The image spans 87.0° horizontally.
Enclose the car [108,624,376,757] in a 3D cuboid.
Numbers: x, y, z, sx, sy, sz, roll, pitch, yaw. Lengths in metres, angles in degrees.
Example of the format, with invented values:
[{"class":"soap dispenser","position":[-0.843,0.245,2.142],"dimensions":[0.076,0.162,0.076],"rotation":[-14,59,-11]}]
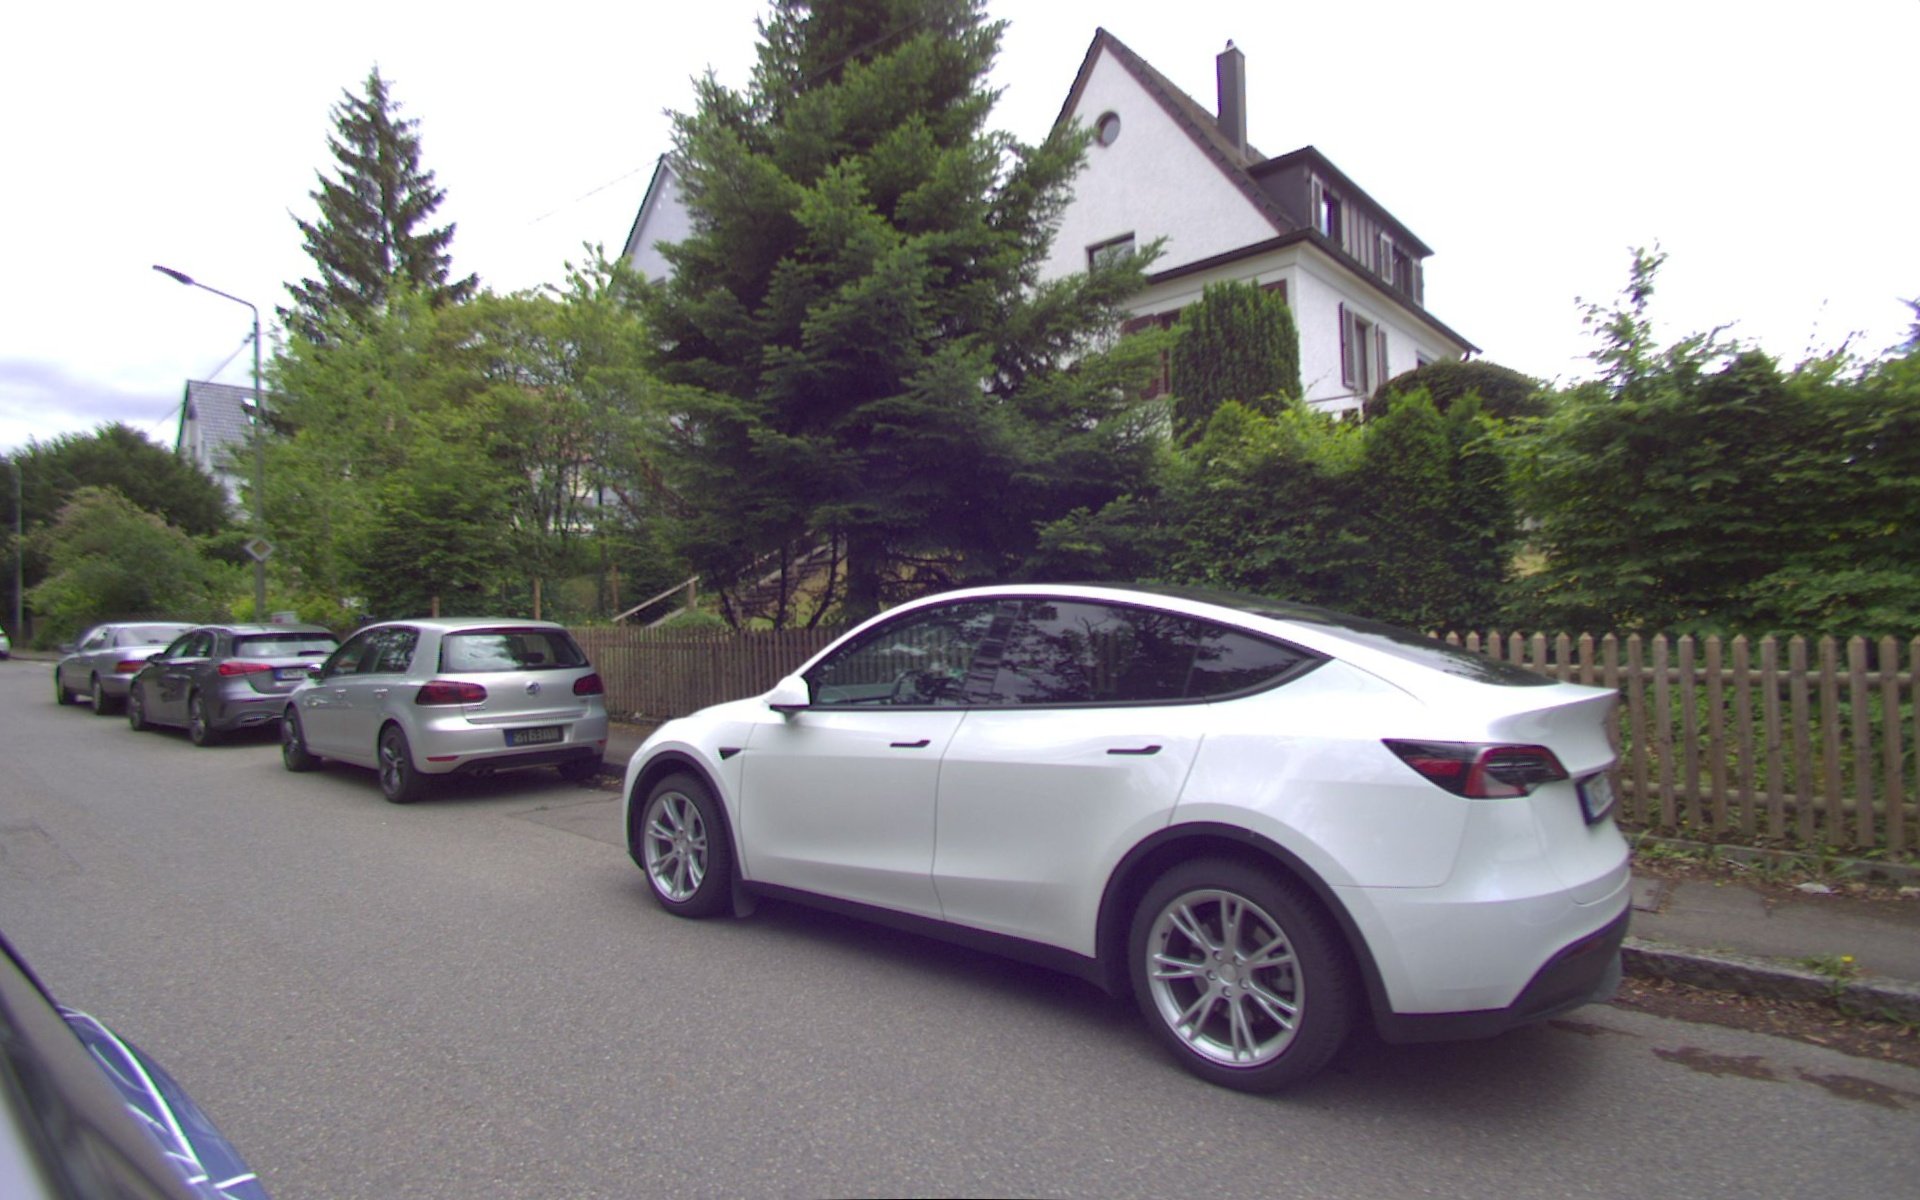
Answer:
[{"class":"car","position":[-9.416,1.046,13.149],"dimensions":[4.257,1.450,1.717],"rotation":[-1,-2,38]}]

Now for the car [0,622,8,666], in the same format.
[{"class":"car","position":[-35.110,1.584,35.689],"dimensions":[4.011,1.511,1.766],"rotation":[-2,0,40]}]

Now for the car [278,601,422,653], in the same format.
[{"class":"car","position":[-21.320,0.910,35.458],"dimensions":[1.723,1.494,3.942],"rotation":[-3,2,45]}]

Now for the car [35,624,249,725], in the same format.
[{"class":"car","position":[-13.796,1.144,16.960],"dimensions":[4.905,1.450,1.830],"rotation":[-1,-2,39]}]

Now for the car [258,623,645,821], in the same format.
[{"class":"car","position":[-4.894,0.949,9.496],"dimensions":[4.114,1.450,1.815],"rotation":[-1,-2,41]}]

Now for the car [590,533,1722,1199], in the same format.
[{"class":"car","position":[0.486,0.709,4.515],"dimensions":[4.598,1.574,1.897],"rotation":[-2,-3,39]}]
